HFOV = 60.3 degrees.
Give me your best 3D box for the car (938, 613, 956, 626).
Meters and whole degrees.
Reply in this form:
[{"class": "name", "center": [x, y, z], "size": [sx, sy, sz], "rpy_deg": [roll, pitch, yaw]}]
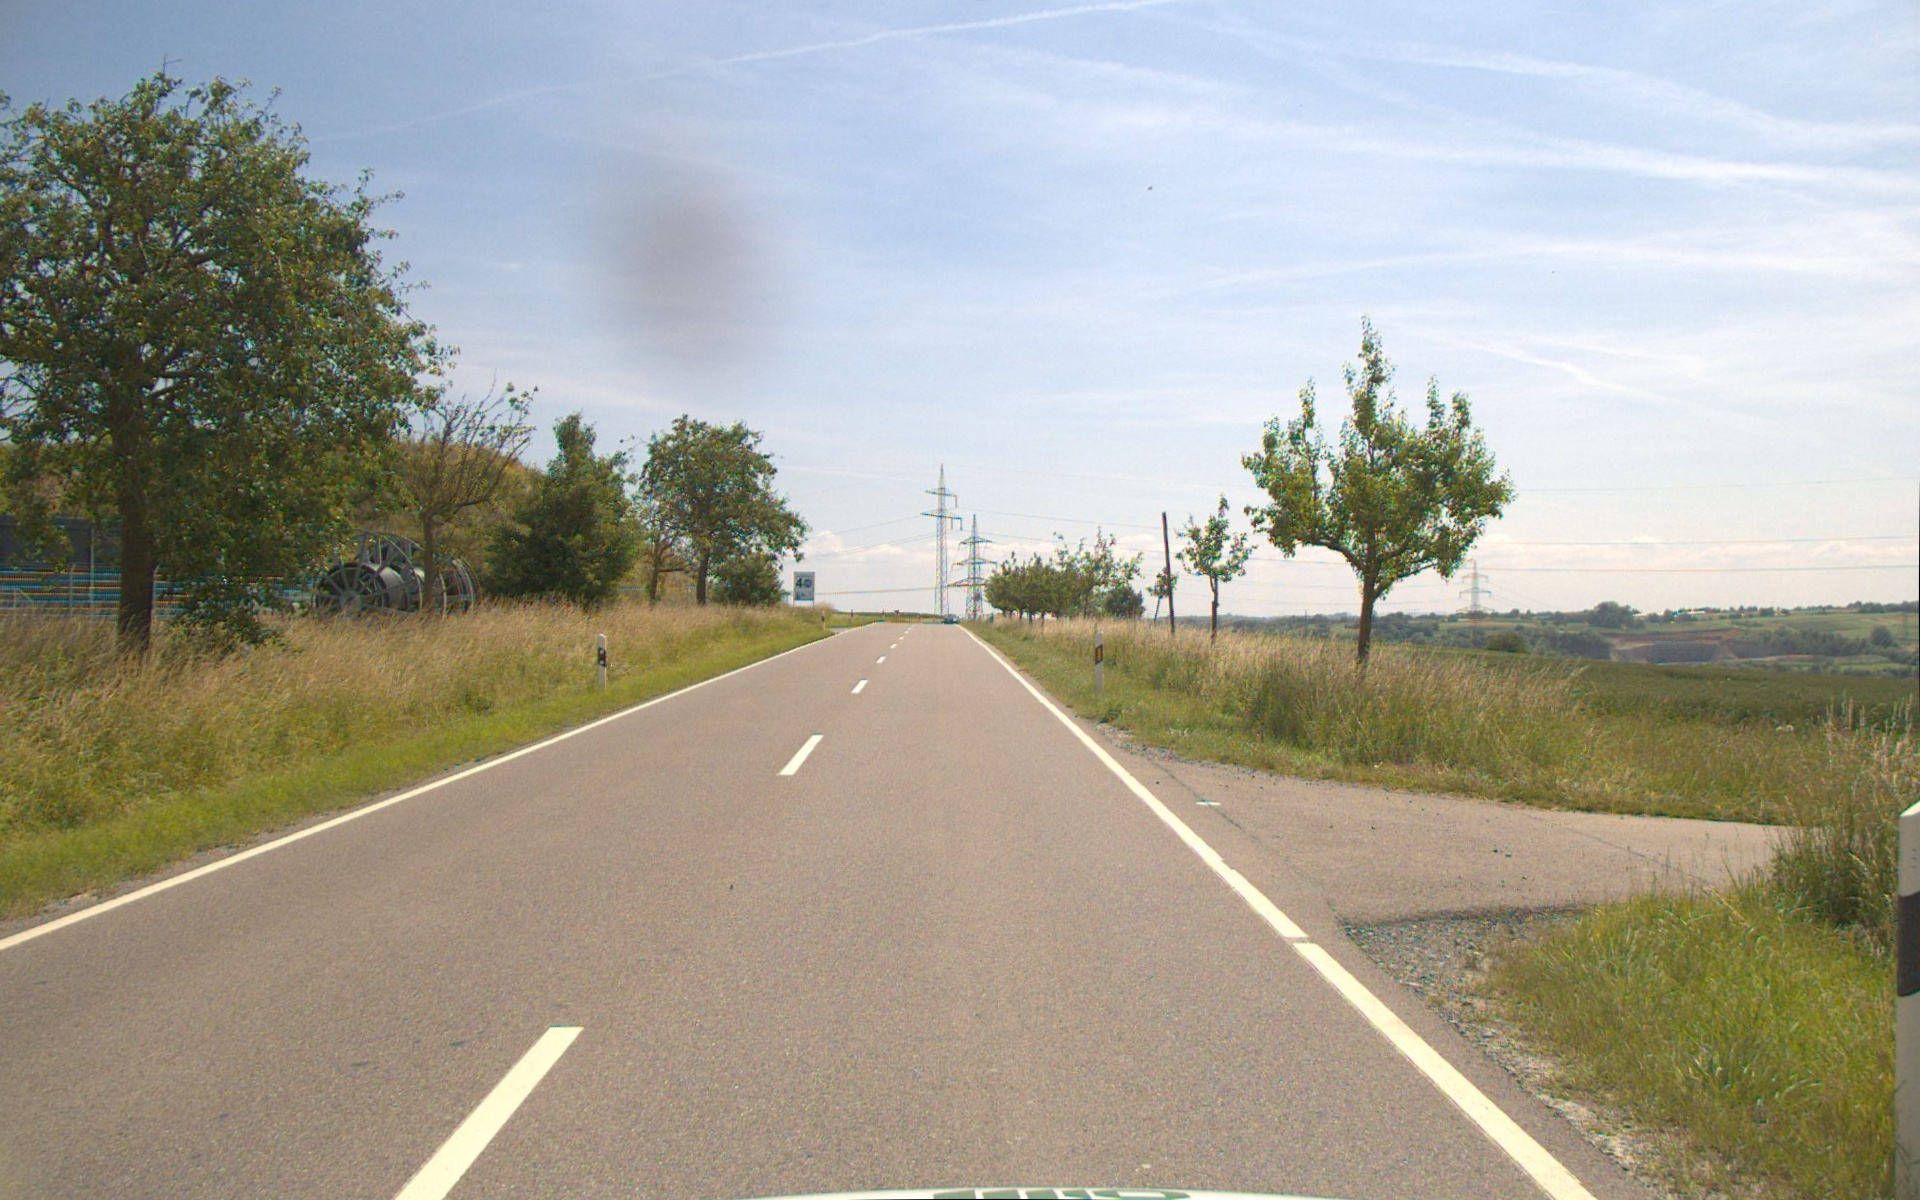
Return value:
[{"class": "car", "center": [-1.539, 2.279, 192.336], "size": [1.784, 1.435, 4.002], "rpy_deg": [1, 0, 4]}]
